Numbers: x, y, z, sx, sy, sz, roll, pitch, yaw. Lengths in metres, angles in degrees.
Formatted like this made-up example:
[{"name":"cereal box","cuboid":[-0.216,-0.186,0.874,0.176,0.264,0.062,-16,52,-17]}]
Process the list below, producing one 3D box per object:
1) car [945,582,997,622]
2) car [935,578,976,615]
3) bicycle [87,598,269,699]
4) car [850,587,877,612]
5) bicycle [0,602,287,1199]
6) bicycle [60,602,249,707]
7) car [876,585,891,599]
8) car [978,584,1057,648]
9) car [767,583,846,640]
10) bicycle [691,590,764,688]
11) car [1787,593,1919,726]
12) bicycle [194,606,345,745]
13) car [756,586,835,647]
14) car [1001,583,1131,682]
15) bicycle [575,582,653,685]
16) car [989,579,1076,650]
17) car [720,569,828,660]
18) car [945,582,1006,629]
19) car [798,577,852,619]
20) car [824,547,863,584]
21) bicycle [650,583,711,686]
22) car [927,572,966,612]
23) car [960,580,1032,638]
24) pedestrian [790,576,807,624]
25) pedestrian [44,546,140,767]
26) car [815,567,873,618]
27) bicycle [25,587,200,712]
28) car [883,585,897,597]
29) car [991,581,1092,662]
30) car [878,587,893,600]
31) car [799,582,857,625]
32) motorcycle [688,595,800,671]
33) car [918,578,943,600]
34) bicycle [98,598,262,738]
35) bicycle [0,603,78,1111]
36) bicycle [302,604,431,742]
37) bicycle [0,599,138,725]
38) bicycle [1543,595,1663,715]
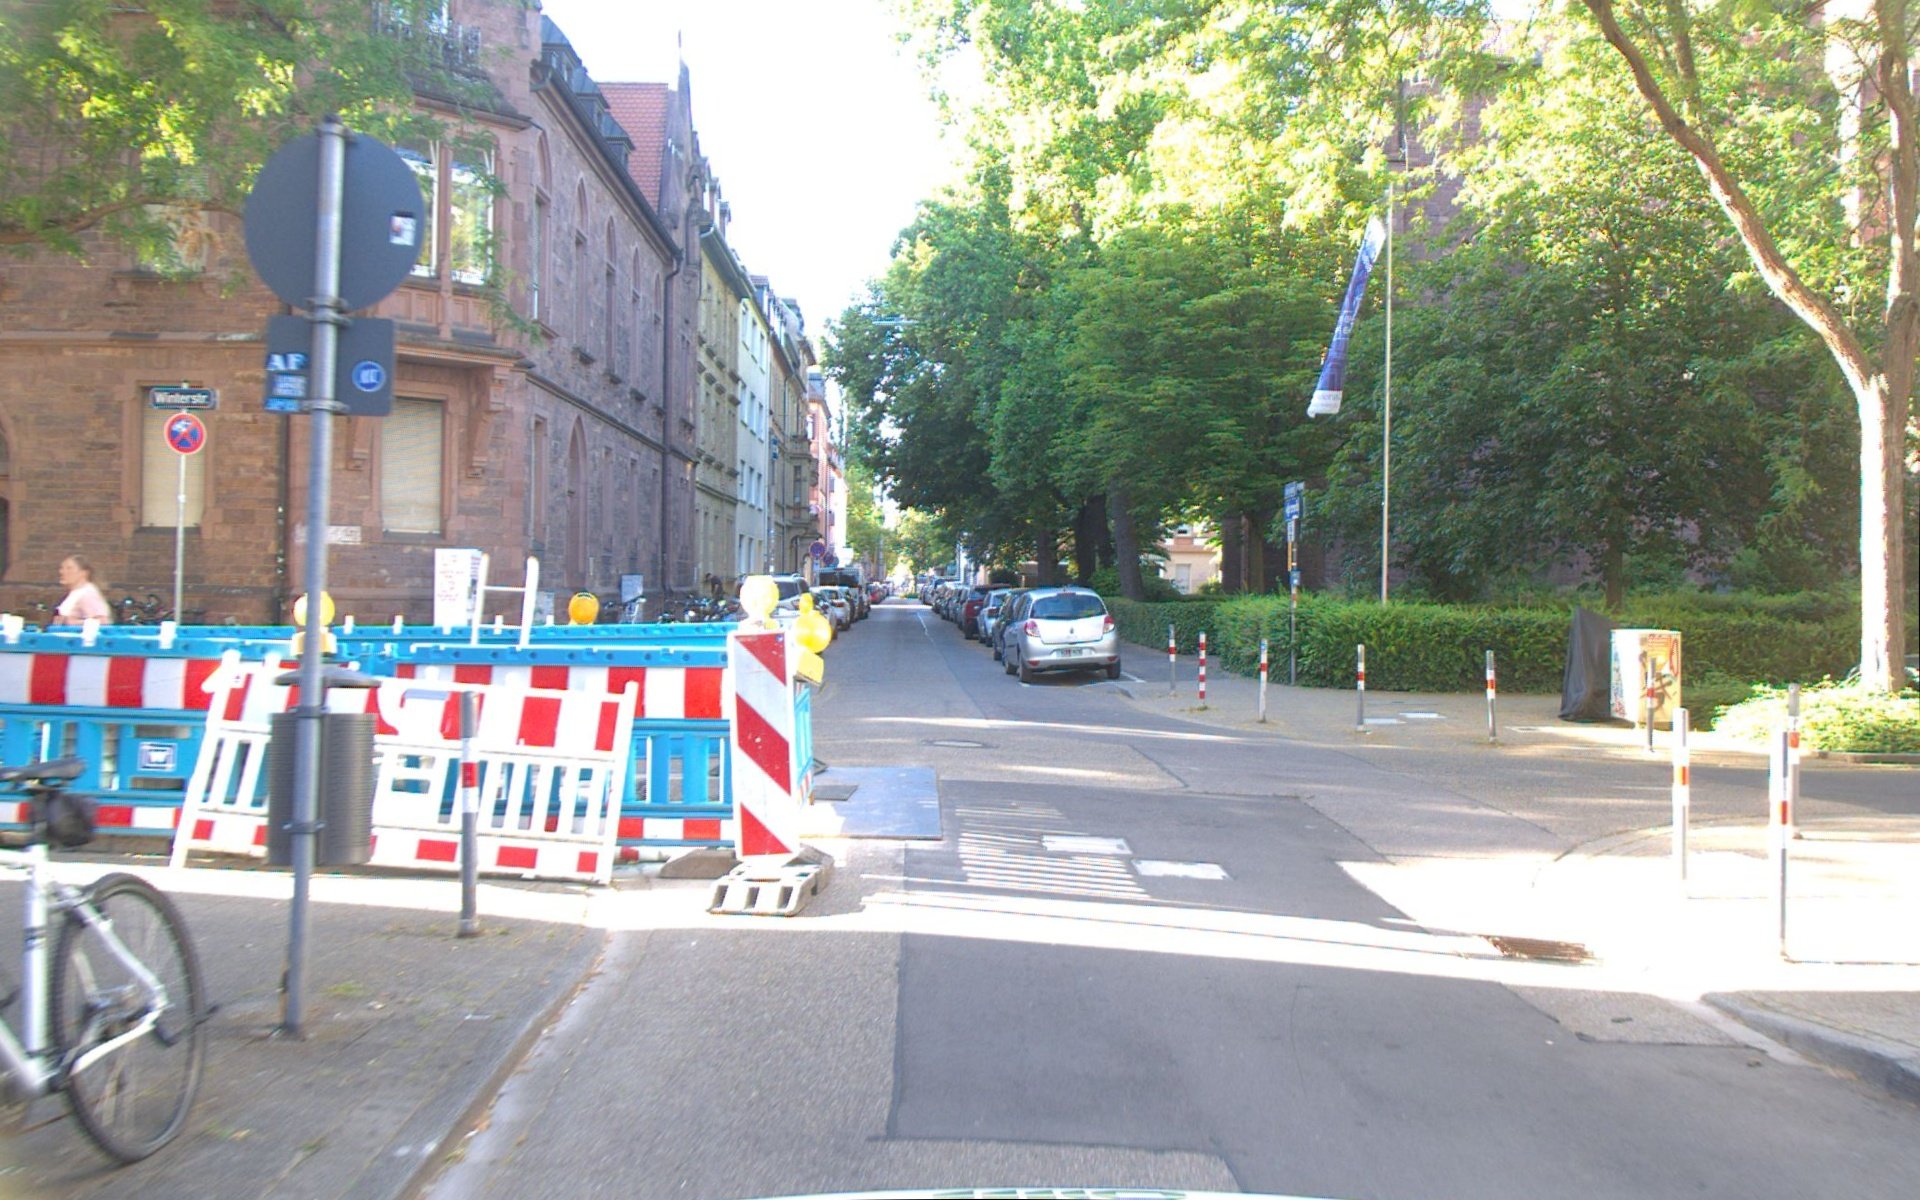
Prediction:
[{"name":"car","cuboid":[0.425,0.074,69.691,1.954,1.601,3.998,0,0,-3]},{"name":"car","cuboid":[-0.250,-0.174,80.867,1.793,1.733,3.998,1,1,-3]},{"name":"bicycle","cuboid":[-9.715,0.595,20.590,1.922,1.200,0.685,1,2,-1]},{"name":"car","cuboid":[-7.130,-0.043,122.328,1.911,1.739,3.997,0,0,-4]},{"name":"bicycle","cuboid":[-1.981,0.658,3.703,0.391,1.248,1.504,0,2,-3]},{"name":"bicycle","cuboid":[-9.634,0.644,19.827,1.922,1.200,0.685,1,2,-1]},{"name":"car","cuboid":[-9.763,-1.039,210.964,1.953,1.676,3.998,0,0,-2]},{"name":"car","cuboid":[1.516,0.386,44.718,1.804,1.624,3.998,1,1,-3]},{"name":"car","cuboid":[-4.154,0.294,45.214,1.844,1.435,3.999,-1,0,-1]},{"name":"bicycle","cuboid":[-3.457,0.544,24.448,0.672,1.368,2.490,0,0,-17]},{"name":"car","cuboid":[12.691,0.724,19.535,1.782,1.579,5.040,0,0,-35]},{"name":"bicycle","cuboid":[-7.585,0.784,18.310,0.669,1.344,2.445,0,2,-1]},{"name":"car","cuboid":[-4.005,0.368,40.703,1.690,1.417,3.998,1,0,-2]},{"name":"car","cuboid":[1.740,0.495,28.355,1.690,1.549,3.996,0,1,-5]},{"name":"bicycle","cuboid":[-5.182,0.466,24.919,0.669,1.448,2.797,0,0,-2]},{"name":"car","cuboid":[1.679,0.332,39.531,1.706,1.601,3.998,0,0,-3]},{"name":"car","cuboid":[-3.772,0.270,34.148,1.844,1.737,3.999,-1,0,-1]},{"name":"car","cuboid":[0.538,0.186,59.392,1.954,1.601,3.998,0,0,-3]},{"name":"car","cuboid":[-5.244,-0.081,64.470,1.954,1.601,3.998,0,0,-3]},{"name":"car","cuboid":[-5.541,-1.670,78.827,1.757,1.601,3.999,0,3,-3]},{"name":"bicycle","cuboid":[-4.152,0.470,24.469,0.564,1.448,2.490,0,0,-17]},{"name":"car","cuboid":[-0.853,-0.482,99.828,2.117,2.295,4.523,0,0,-3]},{"name":"car","cuboid":[1.040,0.248,49.533,1.856,1.653,3.998,1,0,-3]},{"name":"pedestrian","cuboid":[-6.936,-0.019,71.068,0.672,2.049,0.690,0,0,-9]},{"name":"pedestrian","cuboid":[-7.107,0.451,13.556,0.514,1.771,0.557,0,0,-7]},{"name":"car","cuboid":[-5.017,-0.330,72.189,2.262,2.151,5.169,0,0,-1]},{"name":"bicycle","cuboid":[-9.233,0.500,18.139,0.669,1.200,2.445,1,2,0]},{"name":"car","cuboid":[-10.205,-1.305,241.503,1.953,1.676,3.998,0,0,-2]},{"name":"car","cuboid":[1.610,0.406,33.884,1.688,1.549,3.998,0,0,-3]},{"name":"car","cuboid":[-9.827,-0.833,219.682,1.953,1.676,3.998,0,0,-2]},{"name":"car","cuboid":[-4.349,0.090,54.896,1.736,1.377,3.998,1,1,-2]},{"name":"motorcycle","cuboid":[-3.649,0.531,27.795,0.661,1.228,2.274,1,0,-43]},{"name":"car","cuboid":[-2.462,-0.937,137.478,1.953,1.758,3.998,0,1,-2]},{"name":"bicycle","cuboid":[-8.520,0.701,18.187,0.669,1.344,2.445,0,2,-1]},{"name":"bicycle","cuboid":[-2.556,0.668,3.551,0.391,1.248,1.873,0,2,-3]},{"name":"bicycle","cuboid":[-6.500,0.761,18.238,0.669,1.344,2.143,0,2,-1]},{"name":"bicycle","cuboid":[-9.948,0.631,18.130,0.669,1.200,2.445,1,2,0]},{"name":"bicycle","cuboid":[8.042,0.646,20.632,0.763,1.395,2.113,0,1,40]}]
